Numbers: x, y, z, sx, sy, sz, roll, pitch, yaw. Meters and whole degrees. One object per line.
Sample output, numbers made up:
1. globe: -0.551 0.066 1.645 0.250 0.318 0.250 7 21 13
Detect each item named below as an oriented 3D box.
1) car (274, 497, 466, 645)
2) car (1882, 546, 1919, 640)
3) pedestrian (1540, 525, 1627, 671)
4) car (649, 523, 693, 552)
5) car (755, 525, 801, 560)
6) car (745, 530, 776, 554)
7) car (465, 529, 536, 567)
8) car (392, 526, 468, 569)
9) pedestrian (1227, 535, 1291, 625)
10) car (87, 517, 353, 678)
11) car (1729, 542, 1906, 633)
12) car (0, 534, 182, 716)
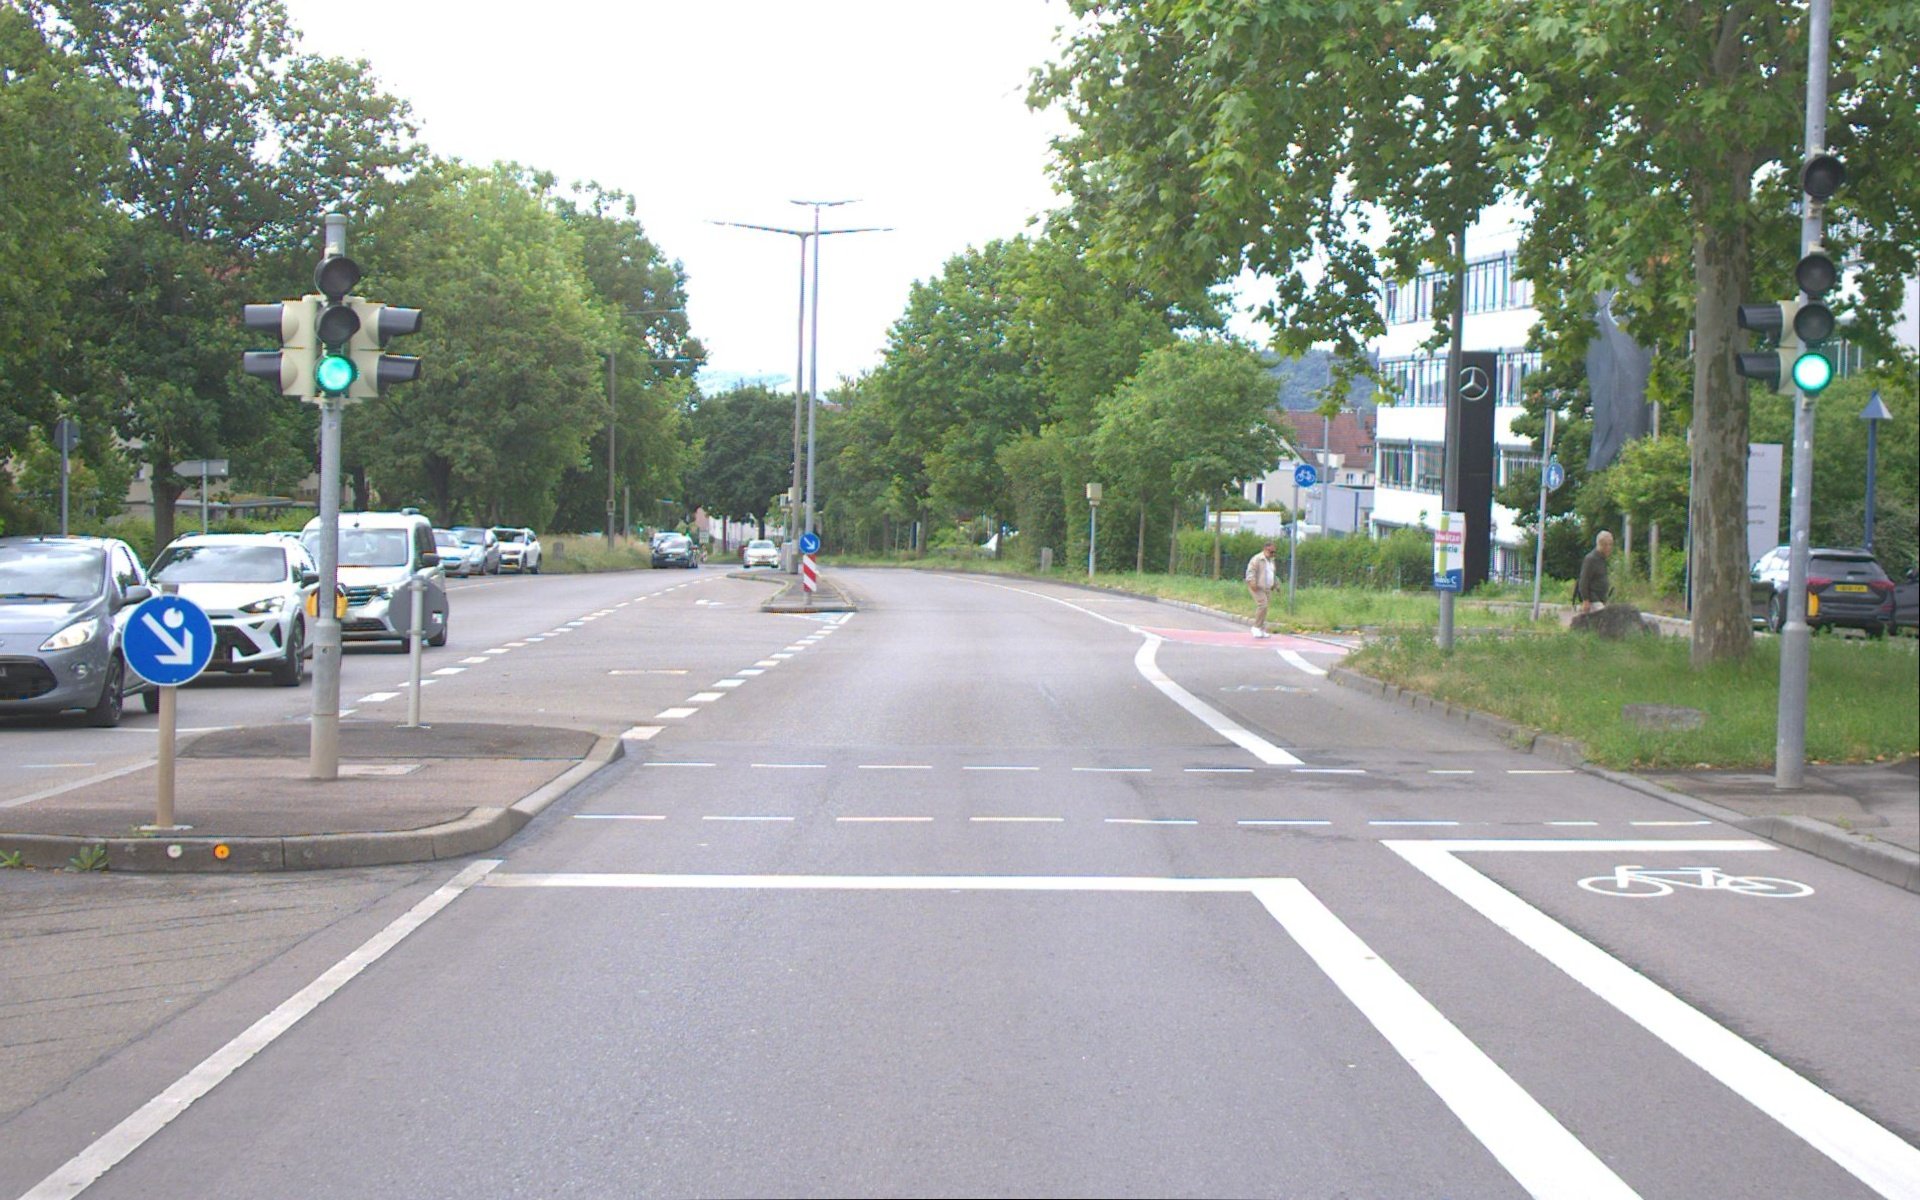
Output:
1. car: -7.603 -0.408 44.710 1.846 1.797 4.651 -1 1 -2
2. car: 16.414 -0.064 55.641 1.710 1.503 4.344 3 1 0
3. pedestrian: 7.792 -0.034 42.955 0.748 1.795 0.860 2 1 34
4. car: -13.491 -2.912 160.504 1.771 1.300 4.000 2 1 -1
5. car: -6.968 -2.225 132.041 1.611 1.300 4.000 2 1 -1
6. car: -11.110 -3.227 191.580 1.611 1.300 4.000 2 1 -1
7. car: -16.328 -1.852 122.315 1.673 1.300 3.999 2 1 5
8. car: -17.312 -1.728 112.182 1.672 1.300 4.001 1 1 -20
9. pedestrian: 4.932 -0.331 56.727 0.788 1.458 0.749 1 1 -20
10. car: -7.507 -0.080 35.314 1.846 1.515 4.816 -1 1 -2
11. car: 13.754 -0.229 55.360 1.710 1.349 4.344 1 1 0
12. car: -7.310 0.156 27.242 1.547 1.326 3.654 -1 1 -2
